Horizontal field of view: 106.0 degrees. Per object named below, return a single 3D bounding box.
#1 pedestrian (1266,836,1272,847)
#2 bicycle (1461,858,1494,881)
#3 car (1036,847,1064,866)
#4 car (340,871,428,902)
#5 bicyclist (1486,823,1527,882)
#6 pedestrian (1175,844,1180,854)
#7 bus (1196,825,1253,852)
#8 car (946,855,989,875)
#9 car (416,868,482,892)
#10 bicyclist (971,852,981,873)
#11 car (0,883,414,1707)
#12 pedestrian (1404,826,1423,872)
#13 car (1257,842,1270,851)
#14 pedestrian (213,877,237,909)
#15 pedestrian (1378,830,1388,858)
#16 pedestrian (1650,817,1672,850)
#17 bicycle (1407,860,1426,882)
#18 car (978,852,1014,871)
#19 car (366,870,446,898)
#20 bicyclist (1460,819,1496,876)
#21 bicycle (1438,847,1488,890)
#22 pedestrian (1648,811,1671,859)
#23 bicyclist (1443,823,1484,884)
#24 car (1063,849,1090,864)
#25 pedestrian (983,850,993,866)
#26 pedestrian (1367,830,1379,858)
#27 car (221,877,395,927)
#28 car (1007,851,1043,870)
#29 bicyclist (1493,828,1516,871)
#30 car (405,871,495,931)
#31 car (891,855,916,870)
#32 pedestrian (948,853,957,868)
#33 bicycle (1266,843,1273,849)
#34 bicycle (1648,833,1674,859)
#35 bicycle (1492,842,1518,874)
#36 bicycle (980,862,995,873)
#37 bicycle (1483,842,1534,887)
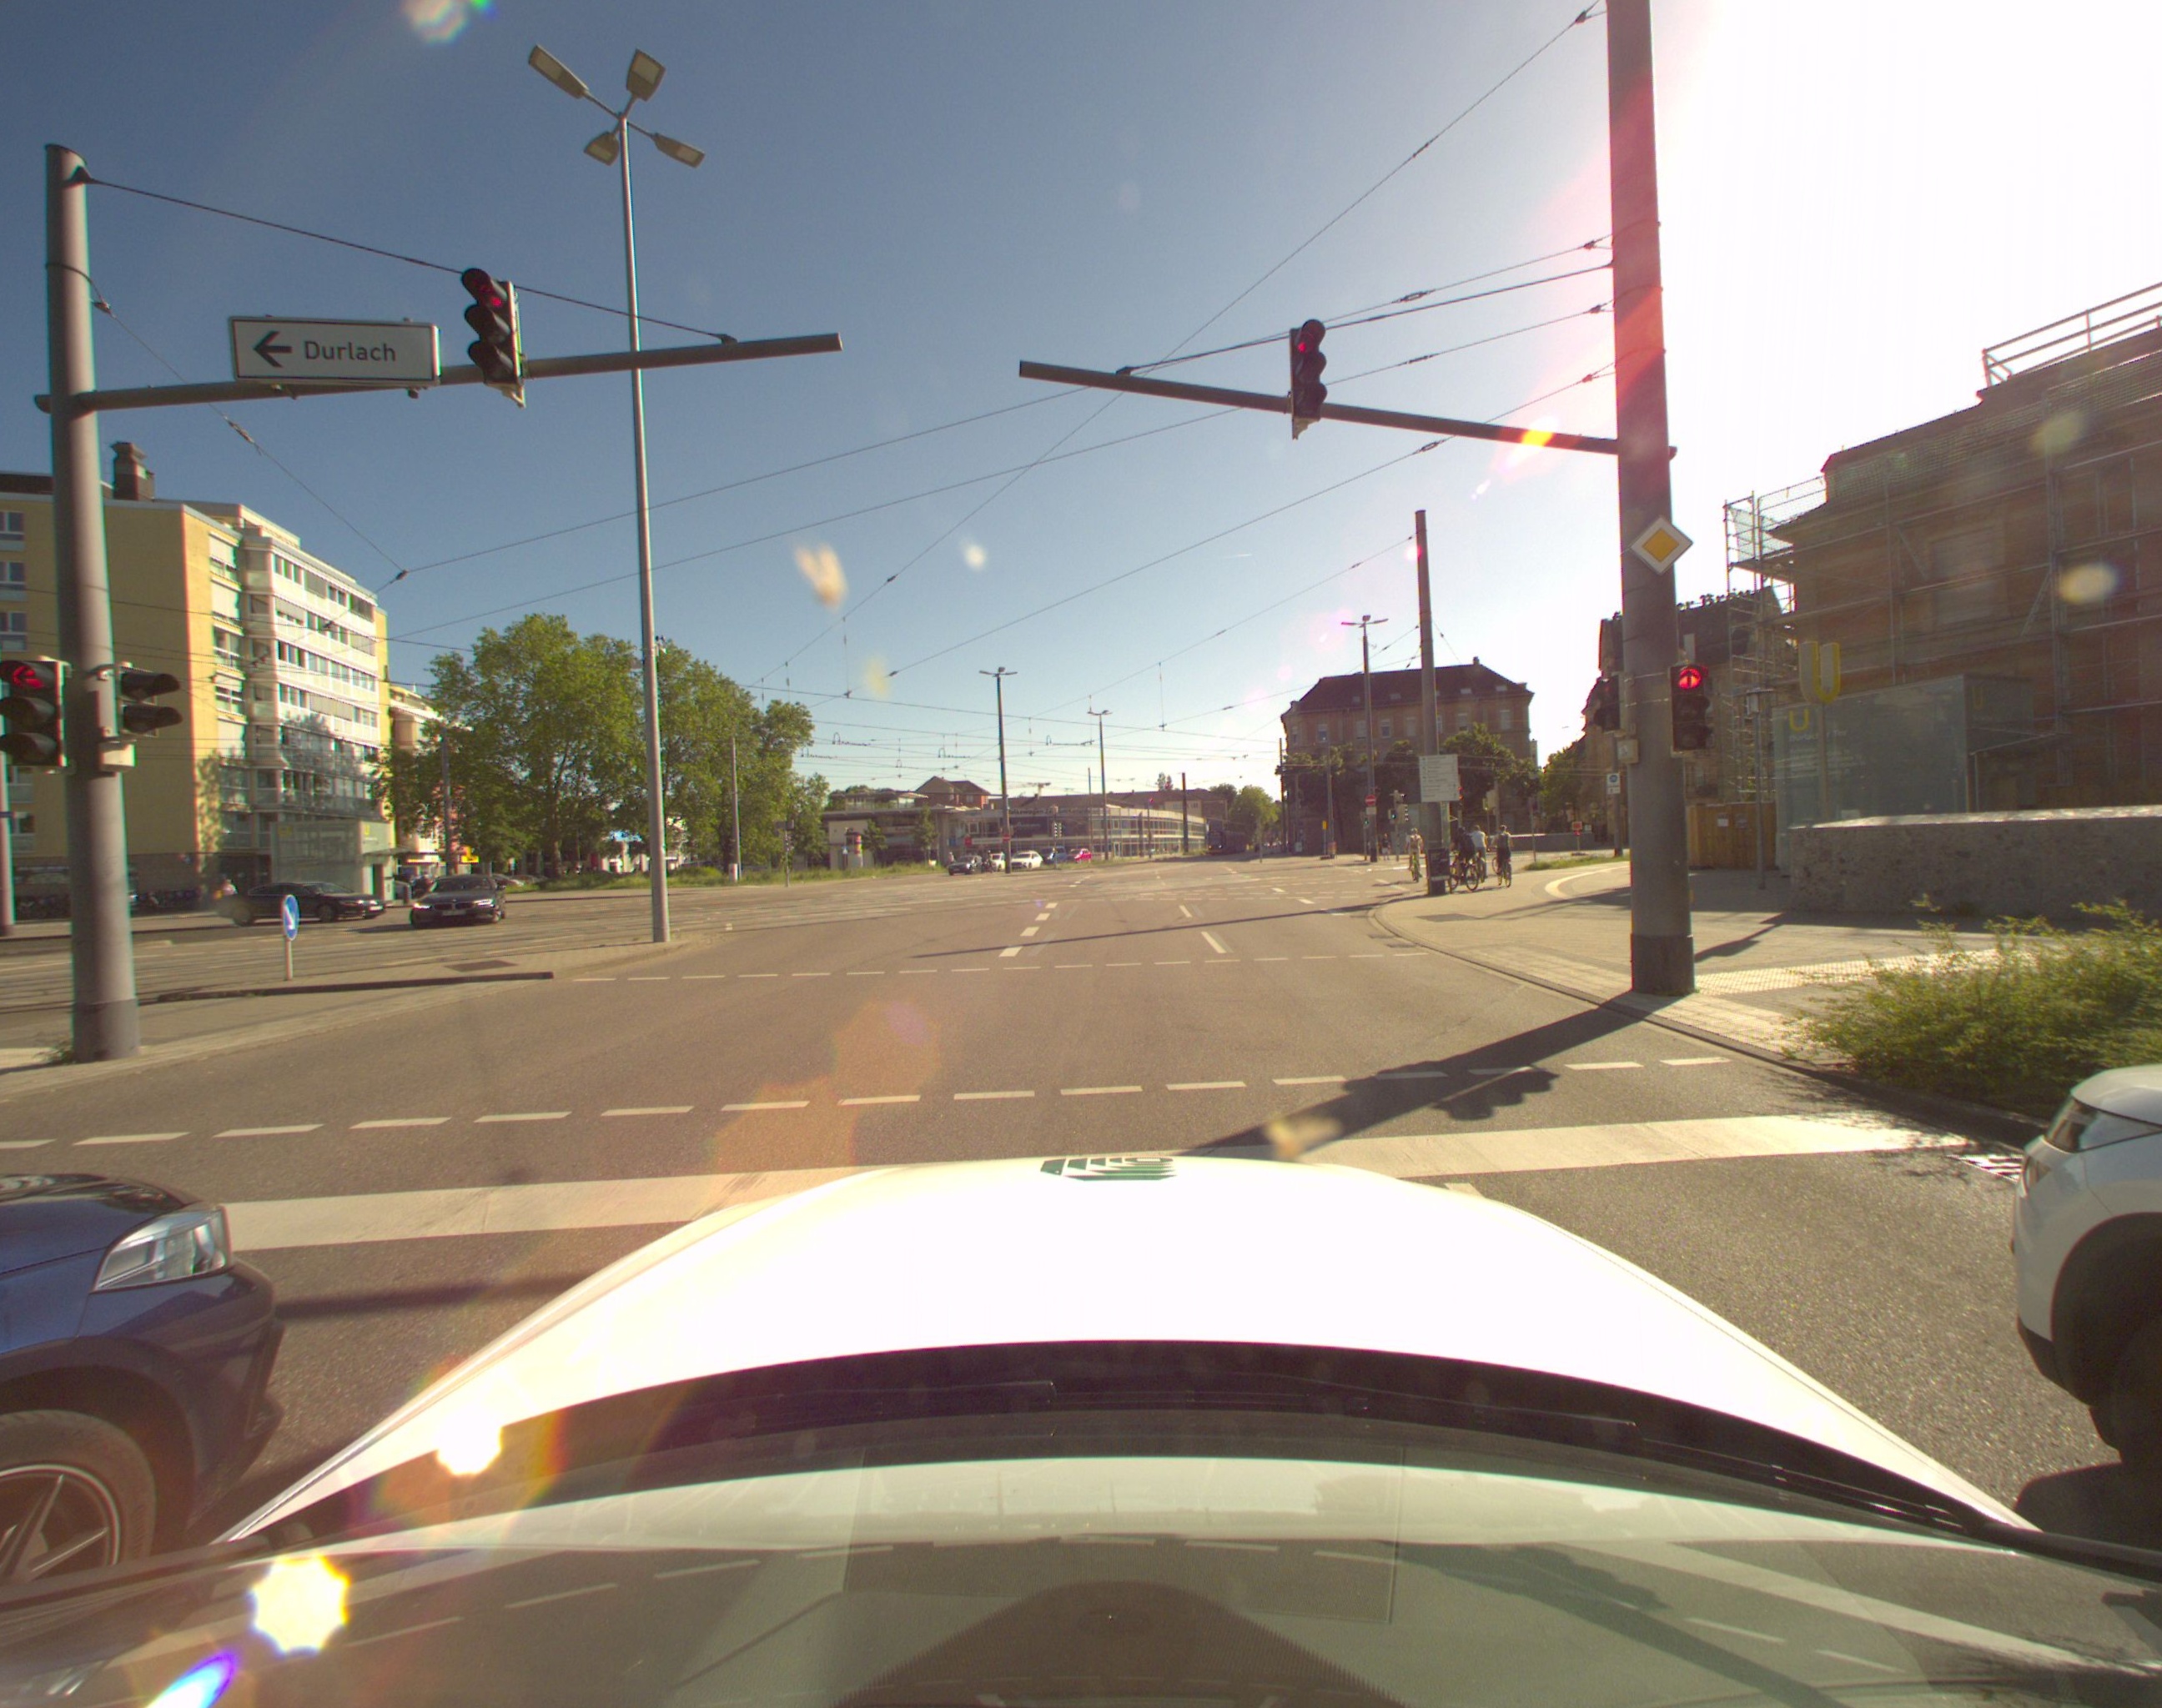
[{"bbox_3d":[26.857,-1.810,116.398,0.796,1.632,0.721,-2,0,18],"label":"pedestrian"},{"bbox_3d":[12.992,0.500,26.690,0.534,0.655,1.471,-3,0,9],"label":"bicycle"},{"bbox_3d":[-2.995,0.240,79.214,1.613,1.692,3.702,-2,0,17],"label":"car"},{"bbox_3d":[-42.859,1.955,50.147,3.742,1.662,1.585,-2,0,-18],"label":"car"},{"bbox_3d":[12.096,-0.040,23.186,0.681,1.598,0.980,-5,-1,11],"label":"bicyclist"},{"bbox_3d":[15.662,-0.827,132.450,0.537,1.688,0.633,-2,0,22],"label":"pedestrian"},{"bbox_3d":[21.896,-2.109,122.219,3.804,3.607,24.993,-1,0,21],"label":"bus"},{"bbox_3d":[-8.501,0.784,61.240,1.689,1.354,3.719,-2,0,19],"label":"car"},{"bbox_3d":[-49.820,2.049,64.275,3.742,1.662,1.585,-2,0,-18],"label":"car"},{"bbox_3d":[-8.838,0.701,68.294,0.564,1.713,0.651,-2,0,14],"label":"bicyclist"},{"bbox_3d":[-2.671,0.809,0.118,1.704,1.445,4.034,-1,0,2],"label":"car"},{"bbox_3d":[11.635,-0.166,28.532,0.543,1.562,0.862,-2,0,21],"label":"pedestrian"},{"bbox_3d":[31.417,-1.289,140.155,1.686,1.503,4.284,-2,0,17],"label":"car"},{"bbox_3d":[-43.659,1.992,41.547,0.719,1.560,0.551,-2,0,-36],"label":"pedestrian"},{"bbox_3d":[21.686,-0.709,58.524,0.461,2.013,0.449,-3,0,-16],"label":"pedestrian"},{"bbox_3d":[26.050,-0.935,36.580,0.967,1.402,0.511,-4,0,-42],"label":"pedestrian"},{"bbox_3d":[11.752,0.589,28.558,0.532,0.655,1.734,-3,0,21],"label":"bicycle"},{"bbox_3d":[-6.981,0.566,67.164,1.613,1.424,3.702,-2,0,17],"label":"car"},{"bbox_3d":[-45.732,1.993,55.258,3.742,1.662,1.585,-2,0,-18],"label":"car"},{"bbox_3d":[12.924,-0.223,26.550,0.742,1.778,0.926,-3,0,9],"label":"bicyclist"},{"bbox_3d":[10.740,0.405,22.948,0.622,1.114,1.854,-4,-1,6],"label":"bicycle"},{"bbox_3d":[23.228,-0.754,32.720,0.692,1.881,0.725,-2,0,35],"label":"pedestrian"},{"bbox_3d":[10.686,-0.012,22.789,0.622,1.637,0.996,-4,-1,6],"label":"bicyclist"},{"bbox_3d":[-0.443,0.247,86.284,1.613,1.364,3.703,-2,0,18],"label":"car"},{"bbox_3d":[-6.931,0.292,60.714,0.419,1.204,0.753,-2,0,19],"label":"pedestrian"},{"bbox_3d":[21.312,-0.712,59.460,0.574,2.013,0.449,-3,0,-16],"label":"pedestrian"},{"bbox_3d":[-27.133,1.656,28.708,4.158,1.438,1.724,-2,0,-7],"label":"car"},{"bbox_3d":[-4.475,0.514,65.221,1.613,1.382,3.754,-2,0,17],"label":"car"},{"bbox_3d":[15.985,-0.176,30.779,0.567,1.568,0.951,-3,0,19],"label":"bicyclist"},{"bbox_3d":[-18.615,1.320,24.197,1.873,1.501,4.518,-2,0,-36],"label":"car"},{"bbox_3d":[-21.872,1.075,100.591,1.958,1.706,4.085,-2,0,2],"label":"car"},{"bbox_3d":[-10.416,0.521,66.007,0.419,1.204,0.684,-2,0,21],"label":"pedestrian"},{"bbox_3d":[26.793,-1.130,116.008,0.737,0.870,1.940,-2,0,19],"label":"bicycle"},{"bbox_3d":[26.077,-0.371,36.607,1.778,1.044,0.511,-4,0,-42],"label":"bicycle"},{"bbox_3d":[15.975,0.126,30.701,0.567,1.125,1.749,-3,0,19],"label":"bicycle"},{"bbox_3d":[-6.962,1.007,60.532,0.419,0.718,1.642,-2,0,19],"label":"bicycle"},{"bbox_3d":[12.105,0.282,23.140,0.681,1.163,1.889,-5,-1,11],"label":"bicycle"}]
